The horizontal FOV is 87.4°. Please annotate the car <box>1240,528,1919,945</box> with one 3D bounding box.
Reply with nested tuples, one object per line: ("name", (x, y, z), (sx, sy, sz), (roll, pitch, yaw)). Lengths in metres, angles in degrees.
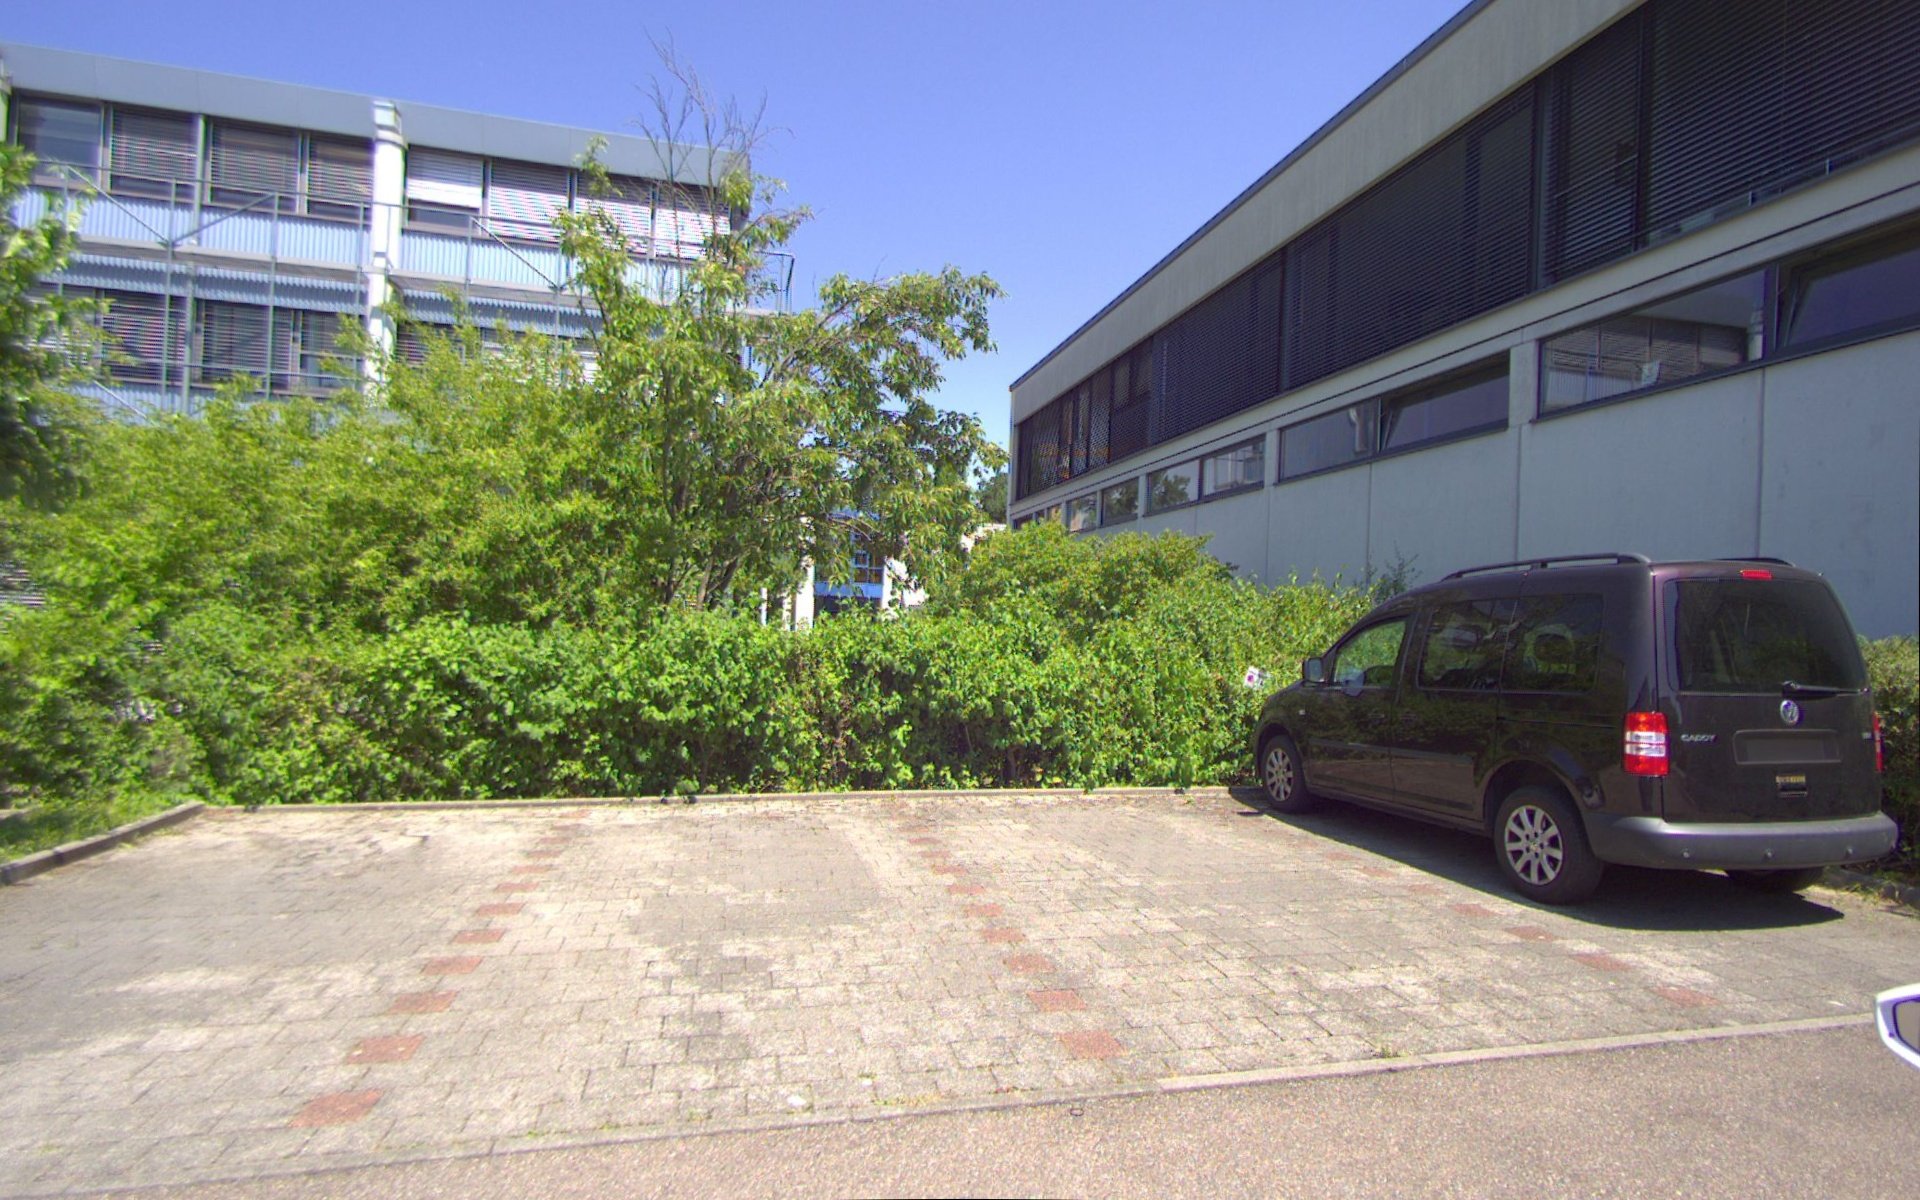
("car", (3.631, 0.668, 6.772), (1.649, 1.909, 4.062), (1, -1, -12))
